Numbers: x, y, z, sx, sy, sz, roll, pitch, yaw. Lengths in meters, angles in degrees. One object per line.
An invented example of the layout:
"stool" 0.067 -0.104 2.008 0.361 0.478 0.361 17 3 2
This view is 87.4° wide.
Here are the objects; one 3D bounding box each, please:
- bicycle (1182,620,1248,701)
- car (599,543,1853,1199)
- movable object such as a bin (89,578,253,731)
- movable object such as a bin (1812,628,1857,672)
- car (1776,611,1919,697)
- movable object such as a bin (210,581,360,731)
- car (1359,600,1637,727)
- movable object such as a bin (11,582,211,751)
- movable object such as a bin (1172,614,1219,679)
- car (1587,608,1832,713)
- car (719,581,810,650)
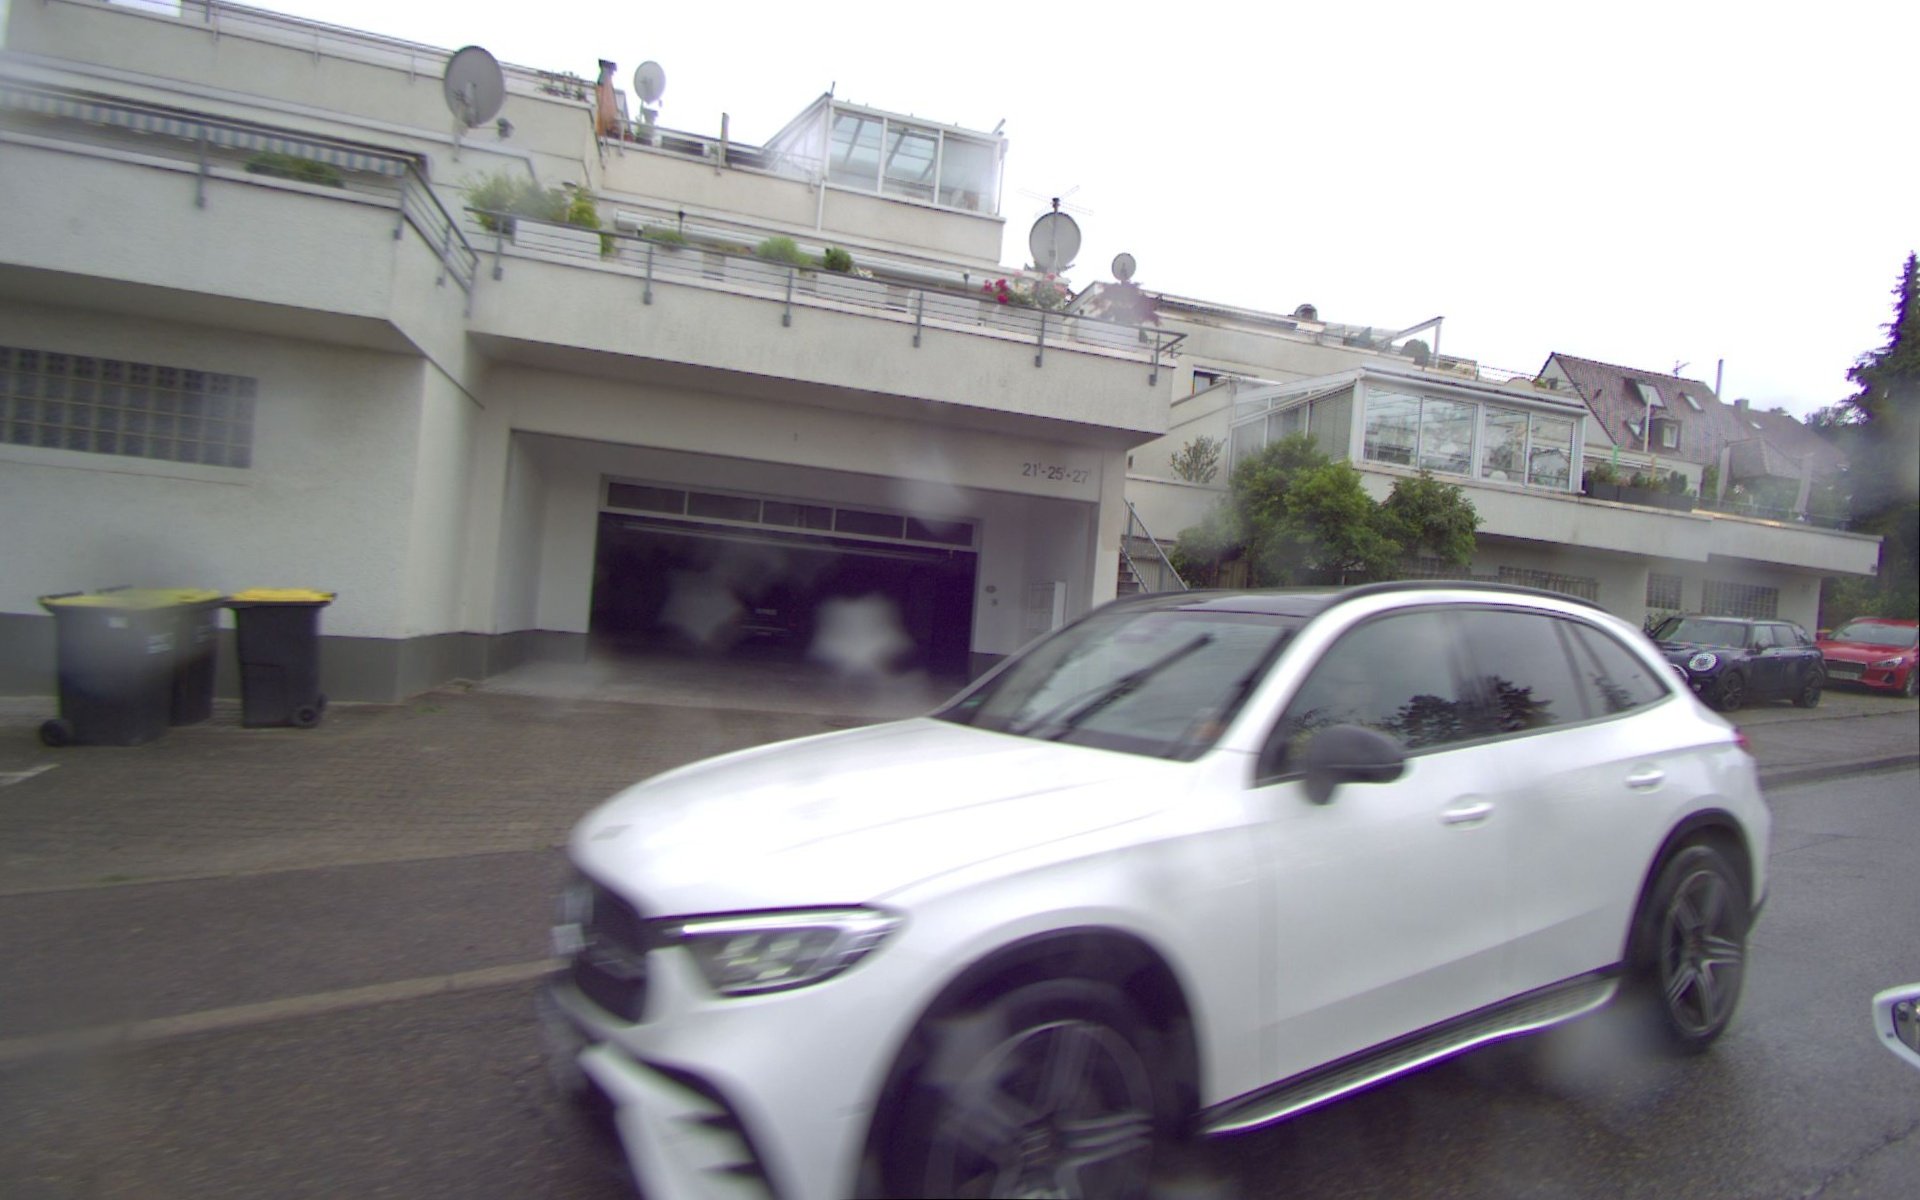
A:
"bicycle" 3.650 0.838 14.483 0.469 1.020 1.568 2 1 -1
"car" 1.150 0.731 3.588 4.333 1.588 1.790 1 0 -31
"movable object such as a bin" -6.224 0.413 7.963 0.753 1.085 0.725 4 4 -12
"movable object such as a bin" 22.256 1.278 25.559 0.672 1.070 0.577 2 1 -19
"car" 18.994 1.076 20.721 4.534 1.456 1.765 2 4 -30
"movable object such as a bin" -5.400 0.435 8.083 0.753 1.085 0.725 4 4 -12
"car" 7.546 0.812 14.016 3.914 1.453 1.598 1 4 -31
"movable object such as a bin" -6.086 0.460 7.247 0.835 1.085 0.725 4 4 -12
"movable object such as a bin" 4.033 0.795 17.223 0.553 1.055 0.546 2 2 -16
"car" 12.289 0.945 16.412 4.189 1.415 1.625 2 3 -30
"car" -4.958 0.355 25.160 1.759 1.515 3.494 4 0 -18
